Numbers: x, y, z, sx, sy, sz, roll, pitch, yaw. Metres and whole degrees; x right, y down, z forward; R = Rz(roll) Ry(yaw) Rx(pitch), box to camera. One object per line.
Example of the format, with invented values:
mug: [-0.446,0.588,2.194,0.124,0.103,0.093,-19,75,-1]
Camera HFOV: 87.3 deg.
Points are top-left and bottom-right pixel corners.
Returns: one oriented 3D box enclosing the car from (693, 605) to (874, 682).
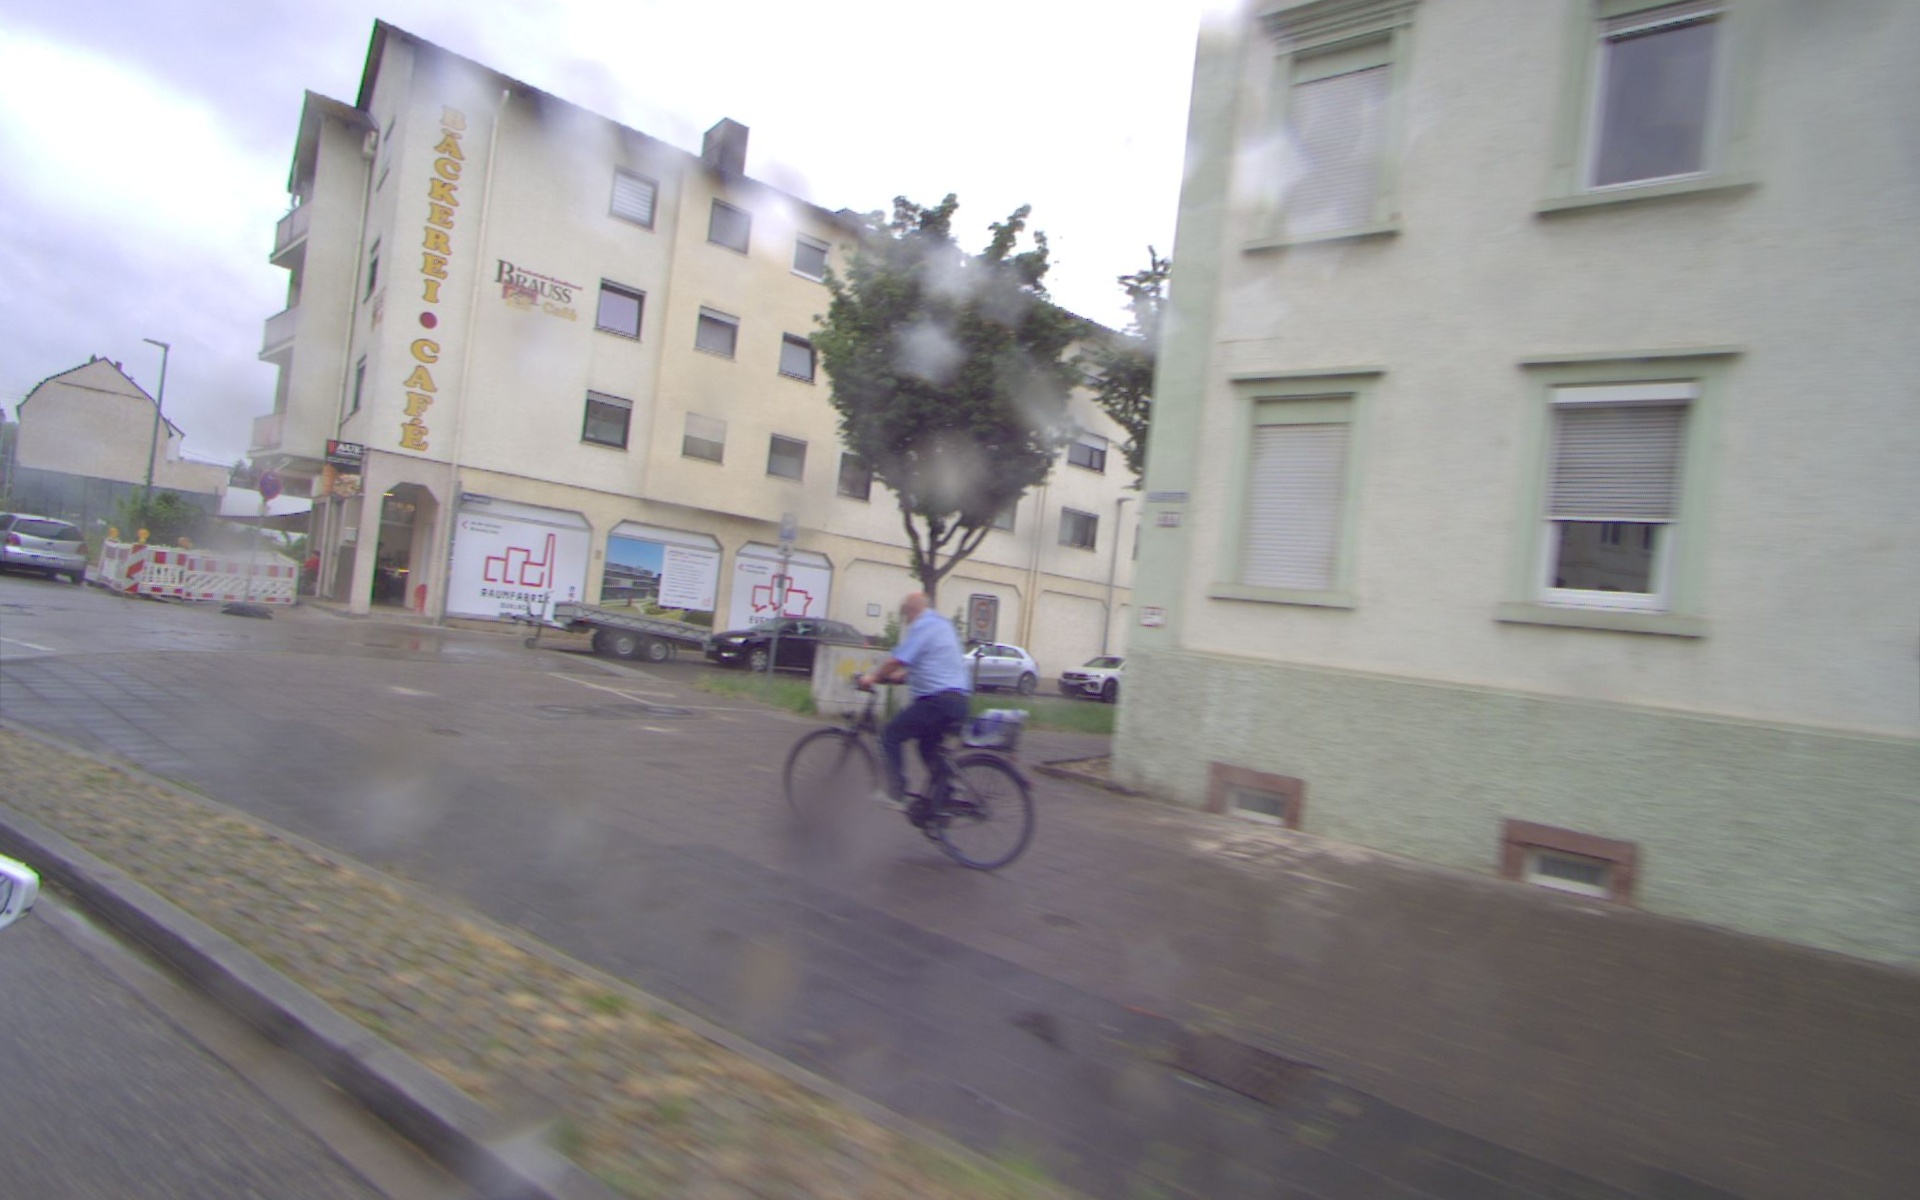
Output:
car: [-4.323,1.099,24.895,3.968,1.419,1.721,9,-3,-37]

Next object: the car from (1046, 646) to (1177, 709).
car: [4.881,2.503,32.168,4.149,1.533,1.720,9,-3,-39]

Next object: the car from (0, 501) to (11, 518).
car: [-129.167,-12.279,135.312,1.987,2.037,3.954,8,-3,-42]

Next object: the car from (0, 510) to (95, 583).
car: [-22.835,-1.358,24.514,4.112,1.450,1.635,5,-2,36]

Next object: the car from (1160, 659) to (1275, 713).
car: [9.142,3.044,35.547,4.149,1.444,1.720,9,-3,-39]

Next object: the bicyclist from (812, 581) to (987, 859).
bicyclist: [-0.375,0.743,6.450,0.703,1.601,0.640,7,-1,26]

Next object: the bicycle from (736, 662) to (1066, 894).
bicycle: [-0.400,1.074,6.480,1.937,1.072,0.675,7,-1,27]

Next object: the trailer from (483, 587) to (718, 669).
trailer: [-7.872,0.636,22.225,4.494,1.246,1.808,9,-3,-35]

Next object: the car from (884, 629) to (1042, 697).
car: [0.126,1.790,28.144,4.147,1.419,1.720,9,-3,-38]

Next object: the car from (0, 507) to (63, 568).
car: [-26.585,-1.814,27.814,4.093,1.450,1.699,5,-2,36]
